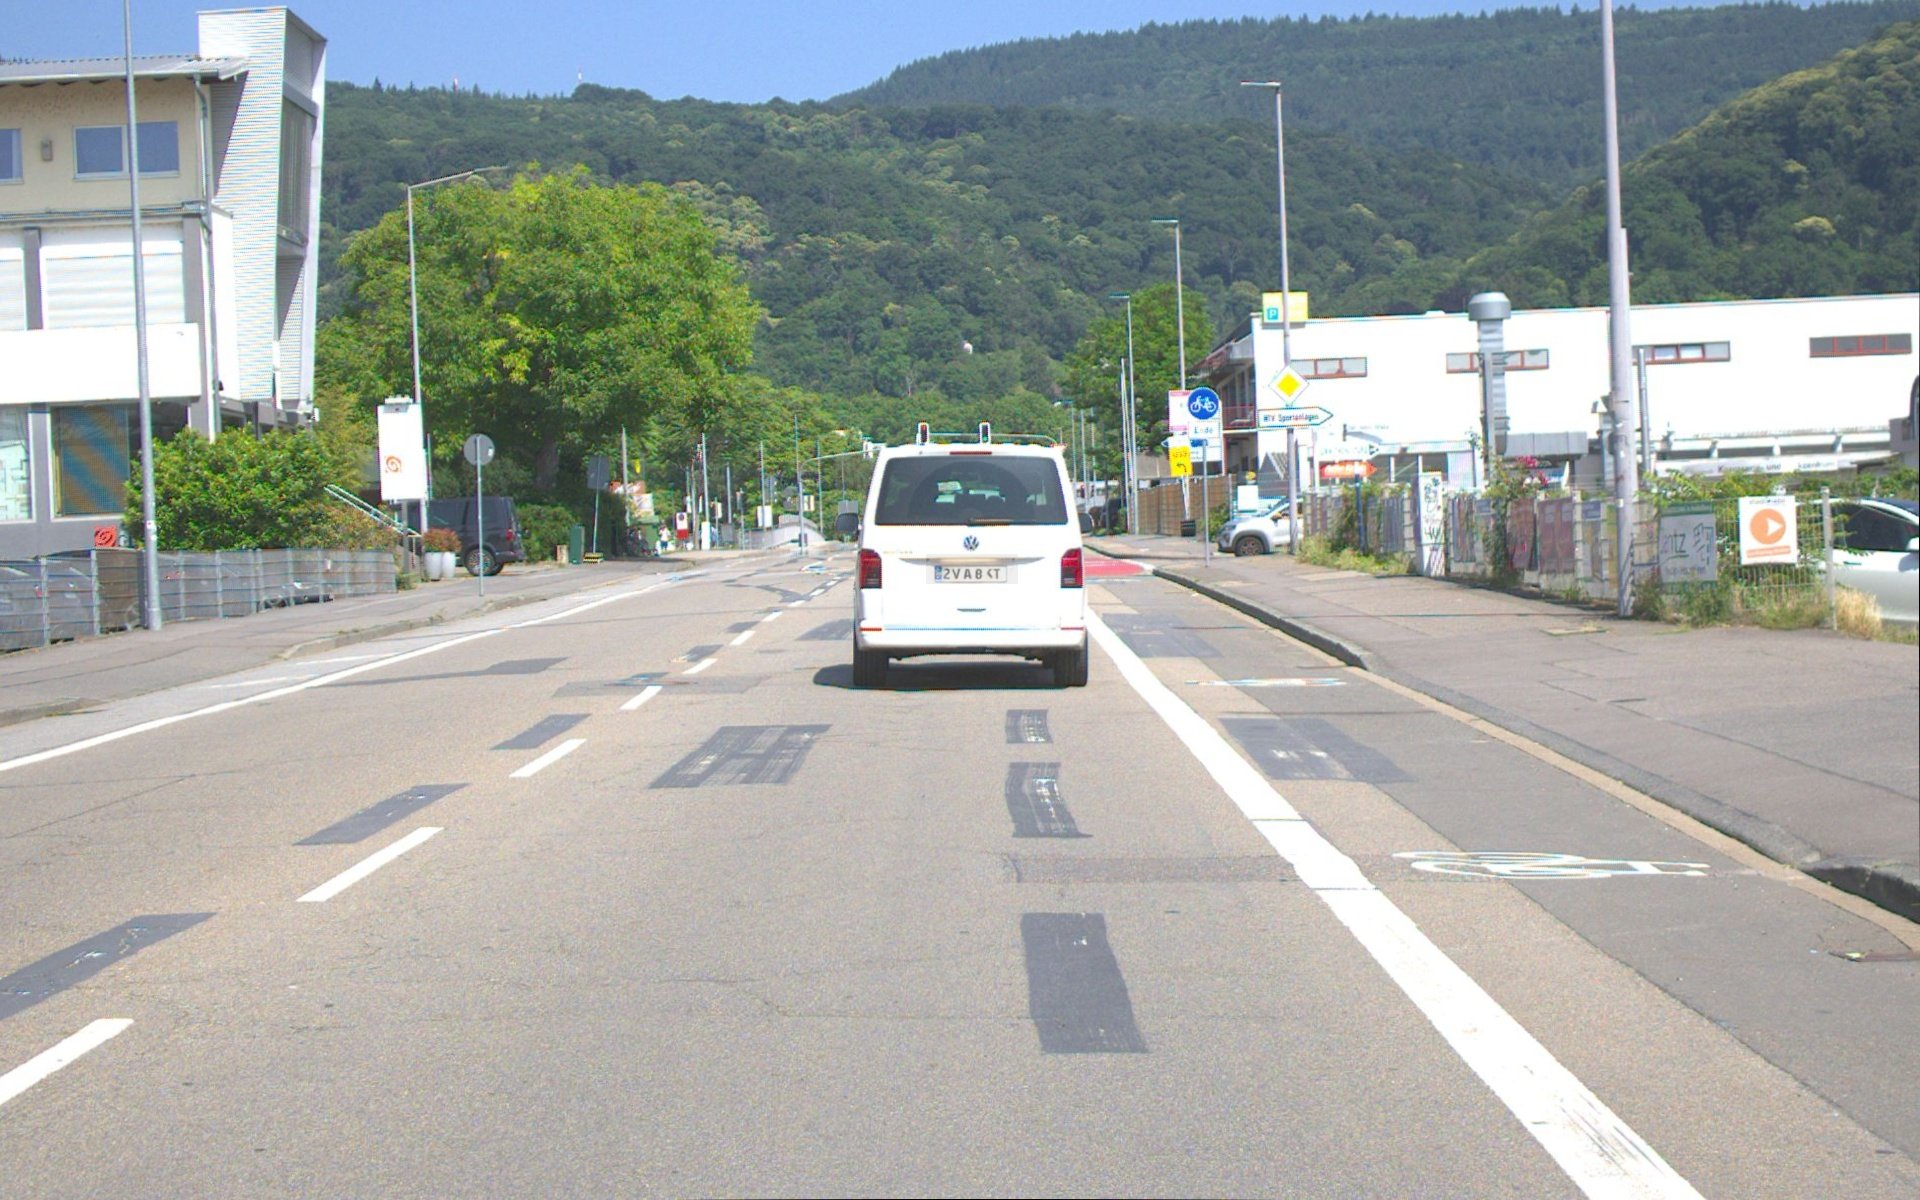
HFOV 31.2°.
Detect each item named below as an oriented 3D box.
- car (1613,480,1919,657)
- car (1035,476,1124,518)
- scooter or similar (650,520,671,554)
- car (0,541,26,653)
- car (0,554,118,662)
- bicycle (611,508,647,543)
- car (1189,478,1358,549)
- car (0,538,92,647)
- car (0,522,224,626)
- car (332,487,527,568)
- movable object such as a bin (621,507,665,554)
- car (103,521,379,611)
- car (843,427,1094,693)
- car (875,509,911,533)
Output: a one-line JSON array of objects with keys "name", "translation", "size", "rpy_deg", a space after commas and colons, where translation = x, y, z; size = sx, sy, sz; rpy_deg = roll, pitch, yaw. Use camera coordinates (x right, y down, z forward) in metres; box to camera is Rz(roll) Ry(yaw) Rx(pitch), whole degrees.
[{"name": "car", "translation": [9.162, -0.283, 33.812], "size": [5.043, 1.616, 2.018], "rpy_deg": [0, -3, 43]}, {"name": "car", "translation": [5.657, -4.884, 162.741], "size": [3.988, 1.769, 2.000], "rpy_deg": [-2, 1, 7]}, {"name": "scooter or similar", "translation": [-10.137, -2.125, 116.371], "size": [0.646, 1.124, 1.623], "rpy_deg": [1, 1, -6]}, {"name": "car", "translation": [-14.331, -0.091, 44.681], "size": [3.889, 1.439, 1.823], "rpy_deg": [2, -1, -3]}, {"name": "car", "translation": [-14.369, 0.088, 49.645], "size": [3.986, 1.485, 1.859], "rpy_deg": [2, -1, -3]}, {"name": "bicycle", "translation": [-10.871, -2.461, 113.114], "size": [1.026, 1.114, 2.766], "rpy_deg": [0, 1, -3]}, {"name": "car", "translation": [6.989, -1.934, 76.870], "size": [3.665, 1.479, 1.728], "rpy_deg": [-1, 2, 3]}, {"name": "car", "translation": [-14.076, -0.135, 46.913], "size": [3.986, 1.438, 1.859], "rpy_deg": [2, -1, -2]}, {"name": "car", "translation": [-14.535, -0.423, 56.886], "size": [4.295, 1.553, 1.996], "rpy_deg": [-2, 2, -3]}, {"name": "car", "translation": [-13.028, -1.792, 84.696], "size": [4.565, 1.859, 2.093], "rpy_deg": [-1, 2, -4]}, {"name": "movable object such as a bin", "translation": [-11.271, -2.481, 122.172], "size": [1.448, 1.585, 1.307], "rpy_deg": [-3, 2, -8]}, {"name": "car", "translation": [-13.538, -0.650, 64.913], "size": [4.739, 1.476, 2.048], "rpy_deg": [-2, 2, -1]}, {"name": "car", "translation": [0.014, -0.364, 29.025], "size": [1.934, 2.052, 4.545], "rpy_deg": [1, 1, -1]}, {"name": "car", "translation": [-4.051, -4.820, 209.030], "size": [1.993, 1.365, 4.327], "rpy_deg": [-3, 1, 0]}]
